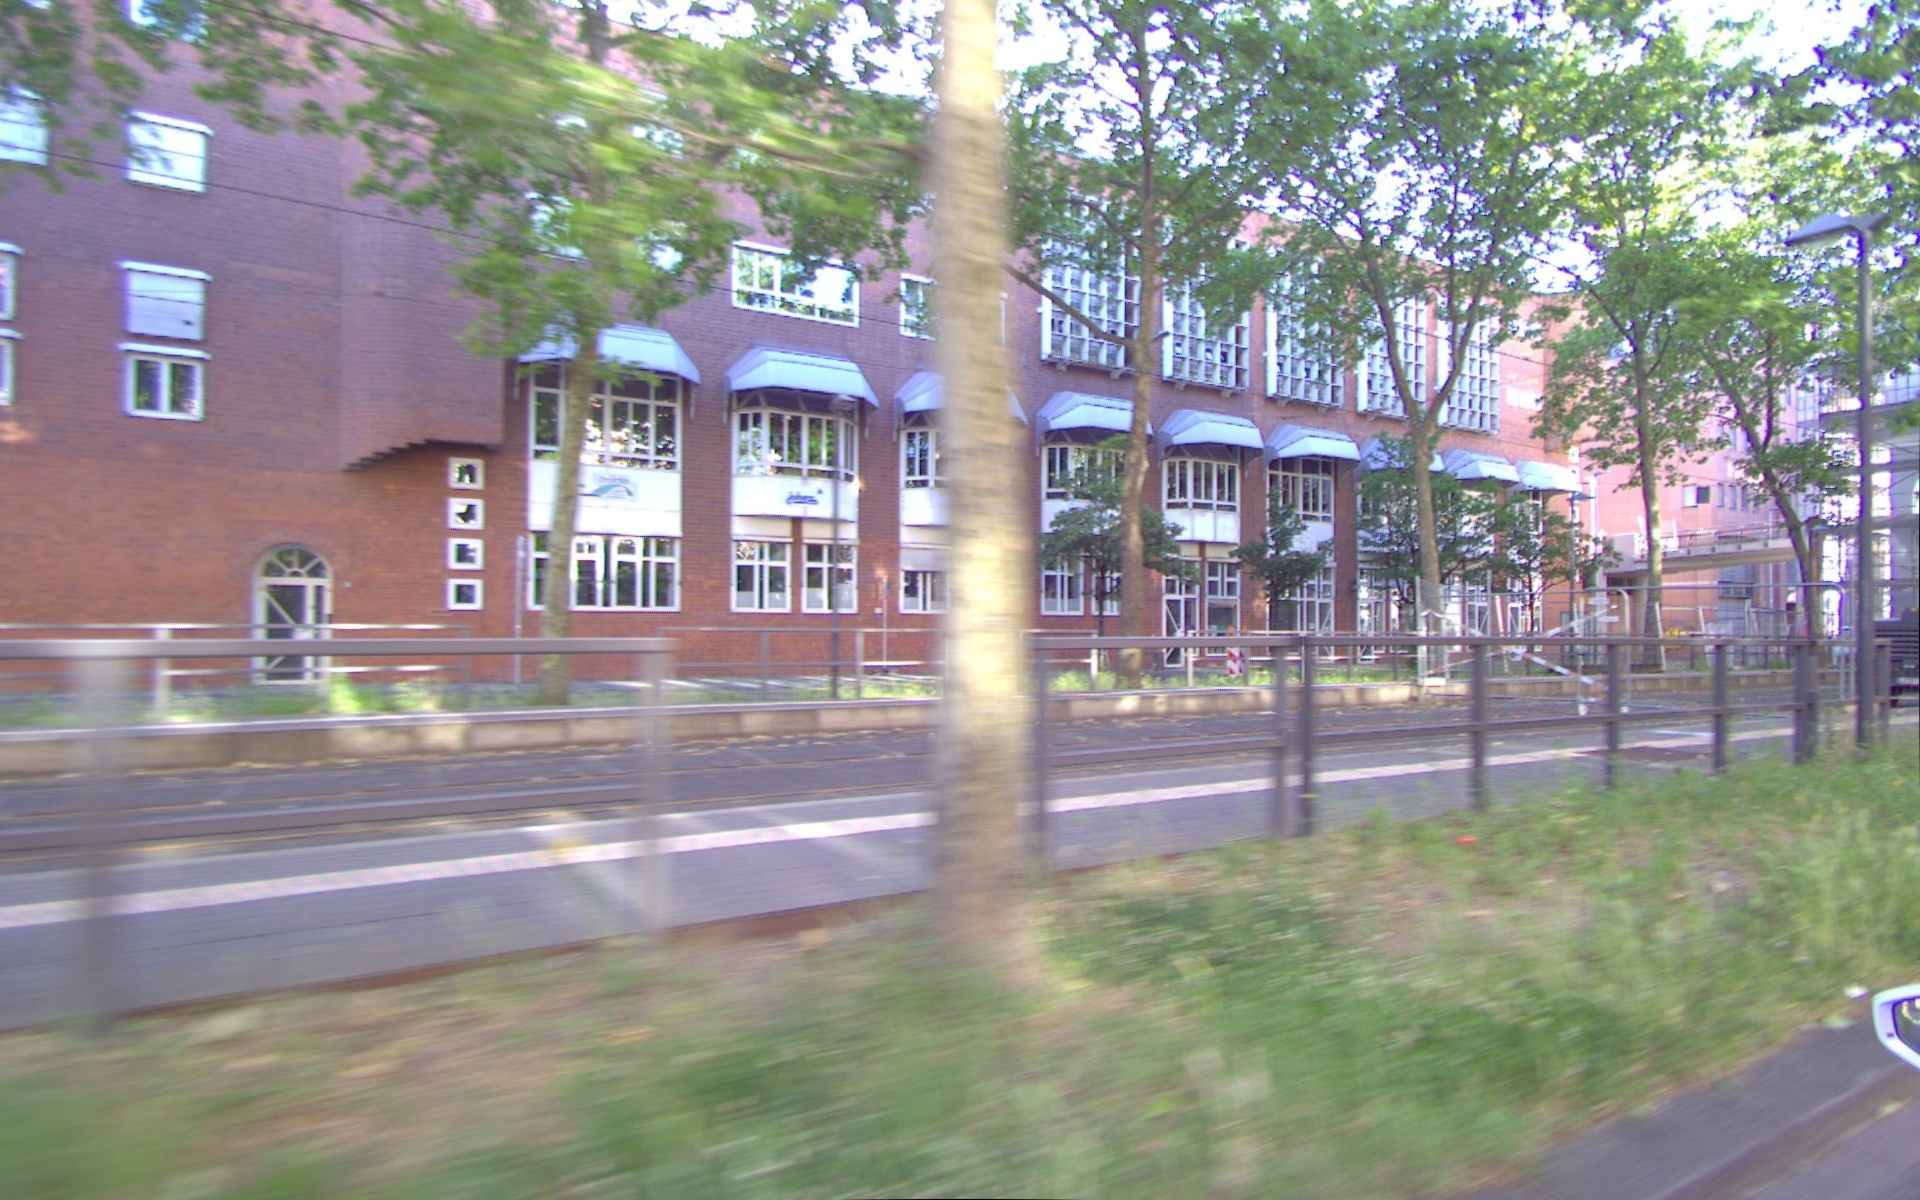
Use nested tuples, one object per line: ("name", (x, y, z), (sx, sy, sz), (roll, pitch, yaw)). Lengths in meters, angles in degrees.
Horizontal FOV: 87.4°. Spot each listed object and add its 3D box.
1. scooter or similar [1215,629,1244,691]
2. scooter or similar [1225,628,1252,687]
("scooter or similar", (7.774, 1.713, 28.974), (0.570, 1.749, 0.525), (1, 0, -38))
("scooter or similar", (8.403, 1.736, 30.327), (0.570, 1.749, 0.525), (1, 0, -38))
